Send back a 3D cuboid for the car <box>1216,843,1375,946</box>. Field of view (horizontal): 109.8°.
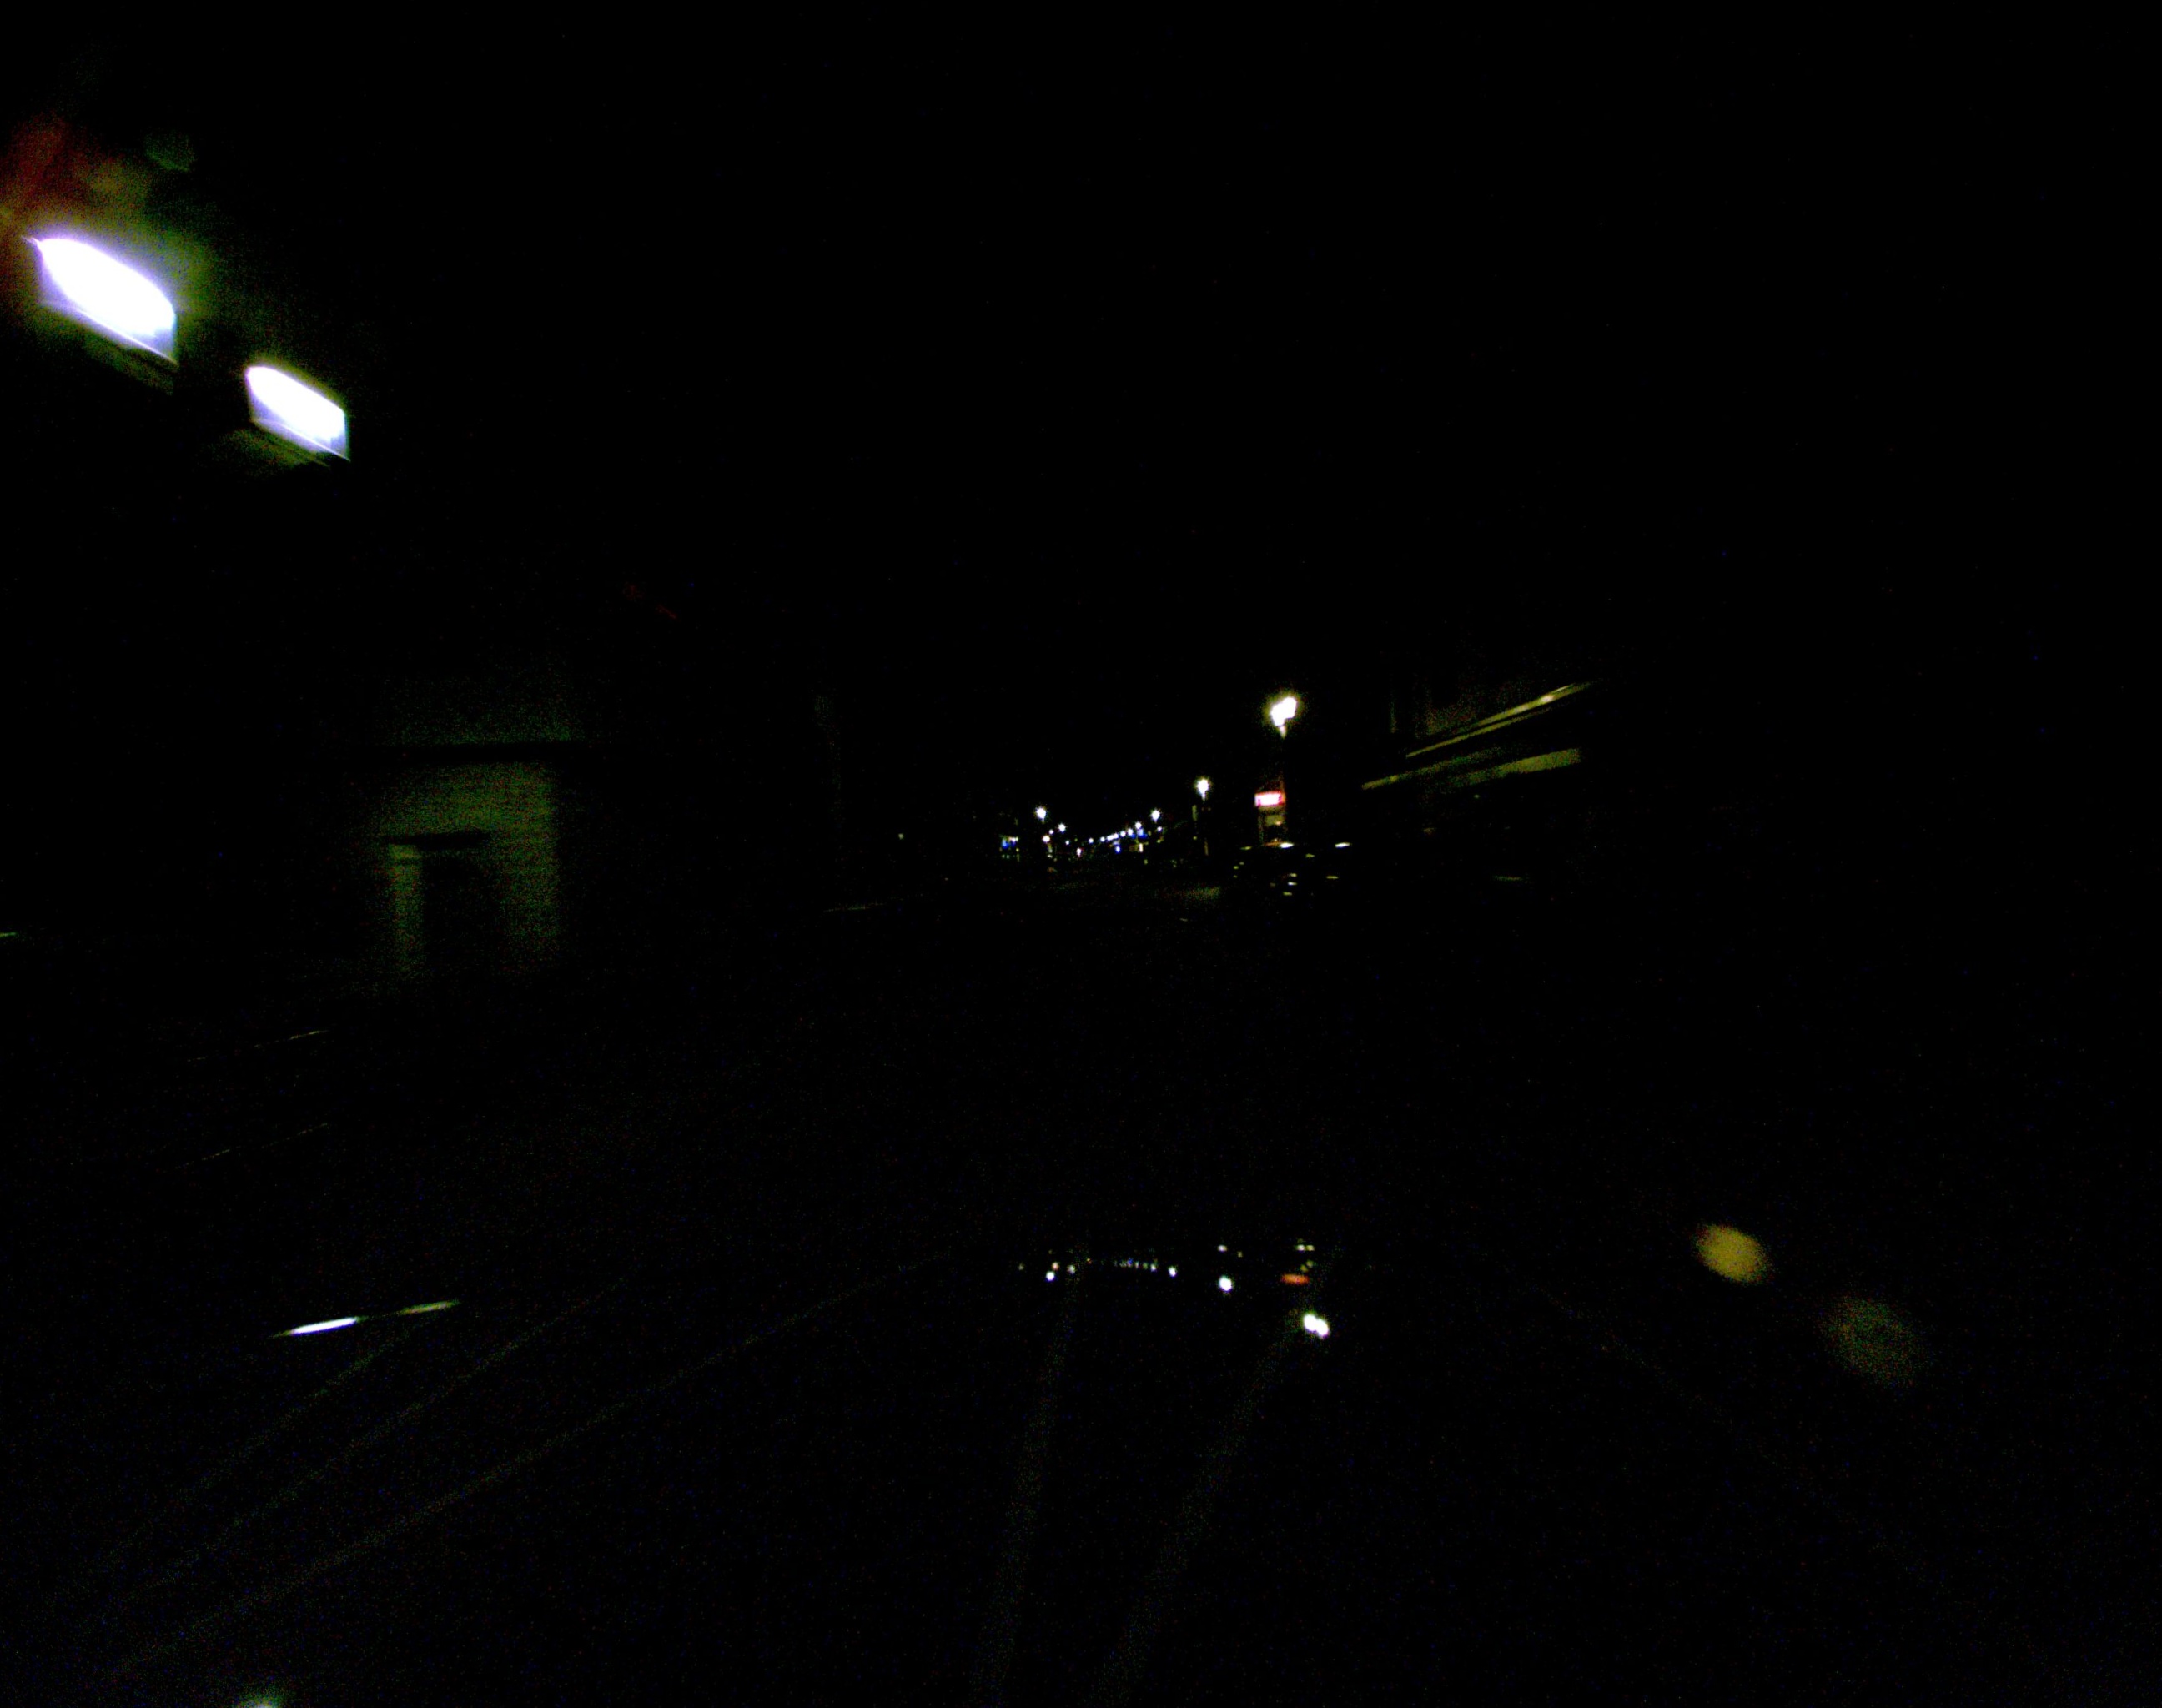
[{"bbox_3d":[3.718,0.635,13.879,1.733,1.468,3.846,-5,0,0],"label":"car"}]

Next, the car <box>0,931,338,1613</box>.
[{"bbox_3d":[-3.444,1.039,0.488,1.793,1.483,4.059,-2,0,2],"label":"car"}]

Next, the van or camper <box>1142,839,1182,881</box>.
[{"bbox_3d":[4.342,0.281,40.404,1.849,1.930,5.155,-5,0,7],"label":"van or camper"}]

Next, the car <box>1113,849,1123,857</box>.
[{"bbox_3d":[7.457,-0.289,153.894,1.655,1.417,4.014,-6,0,0],"label":"car"}]

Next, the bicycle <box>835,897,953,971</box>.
[{"bbox_3d":[-3.012,1.286,12.286,1.759,1.056,0.346,-4,1,-1],"label":"bicycle"}]

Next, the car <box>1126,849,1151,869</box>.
[{"bbox_3d":[5.011,0.405,66.642,1.802,1.469,4.321,-5,1,1],"label":"car"}]

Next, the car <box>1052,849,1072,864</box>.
[{"bbox_3d":[-1.993,0.250,79.666,1.664,1.369,4.104,-2,1,4],"label":"car"}]

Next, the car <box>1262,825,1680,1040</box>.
[{"bbox_3d":[3.692,0.620,8.533,2.024,1.479,5.007,-7,0,1],"label":"car"}]

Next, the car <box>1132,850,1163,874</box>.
[{"bbox_3d":[4.524,0.531,52.104,1.721,1.404,4.385,-5,0,2],"label":"car"}]

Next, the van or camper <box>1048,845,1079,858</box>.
[{"bbox_3d":[-3.725,-0.537,162.259,6.059,2.518,2.158,-4,1,-30],"label":"van or camper"}]

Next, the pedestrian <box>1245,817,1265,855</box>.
[{"bbox_3d":[8.196,-0.847,35.855,0.622,1.735,1.022,-5,1,2],"label":"pedestrian"}]

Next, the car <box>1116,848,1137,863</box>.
[{"bbox_3d":[5.044,0.193,85.338,1.850,1.455,4.622,-5,0,-1],"label":"car"}]

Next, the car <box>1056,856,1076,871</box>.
[{"bbox_3d":[-1.590,1.022,84.722,1.757,1.455,4.467,-2,1,4],"label":"car"}]

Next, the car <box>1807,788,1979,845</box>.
[{"bbox_3d":[29.397,-1.327,27.616,3.997,1.637,2.001,-4,-2,0],"label":"car"}]
